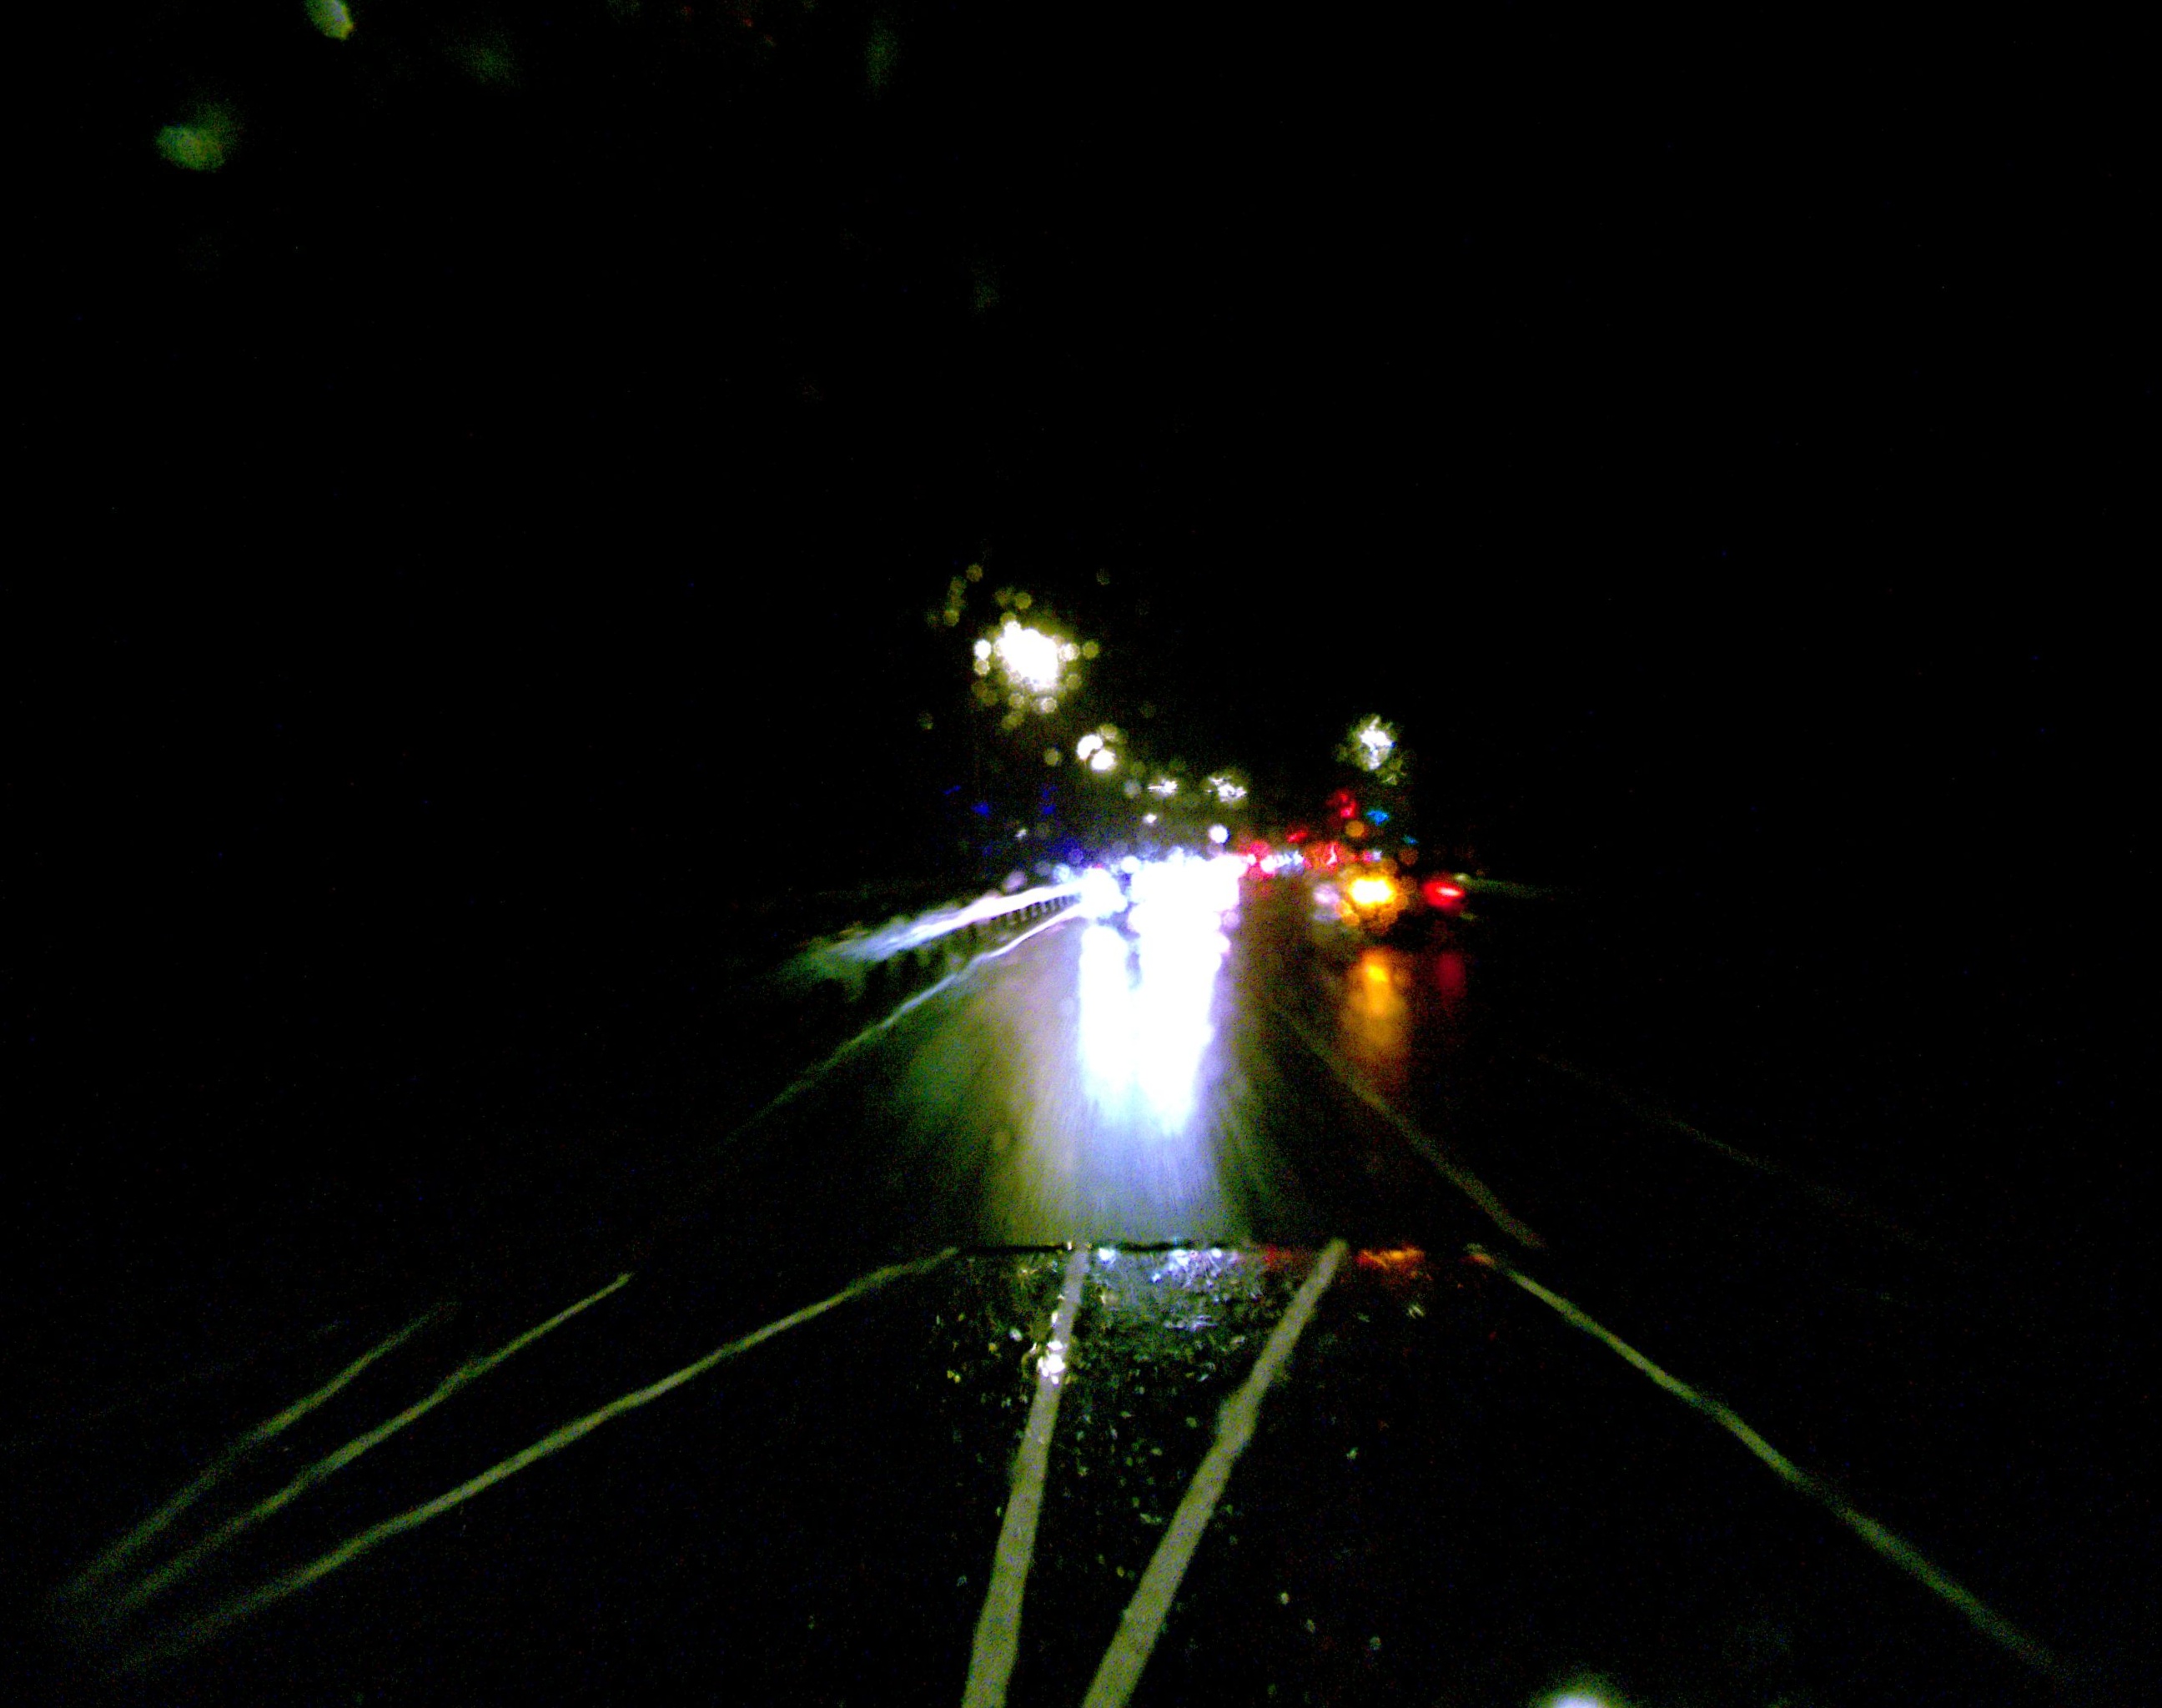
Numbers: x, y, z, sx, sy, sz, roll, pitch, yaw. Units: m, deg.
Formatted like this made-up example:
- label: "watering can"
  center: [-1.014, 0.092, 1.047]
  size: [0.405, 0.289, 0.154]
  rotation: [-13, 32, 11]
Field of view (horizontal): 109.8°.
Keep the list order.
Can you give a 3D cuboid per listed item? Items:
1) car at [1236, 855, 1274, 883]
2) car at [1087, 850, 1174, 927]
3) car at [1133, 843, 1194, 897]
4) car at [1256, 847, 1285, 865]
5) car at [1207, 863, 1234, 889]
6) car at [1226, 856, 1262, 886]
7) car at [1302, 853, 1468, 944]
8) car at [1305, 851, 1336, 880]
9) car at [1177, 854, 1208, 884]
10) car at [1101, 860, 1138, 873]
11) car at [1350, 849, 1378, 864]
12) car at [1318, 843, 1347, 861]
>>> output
- label: "car"
  center: [9.446, 0.773, 41.355]
  size: [1.898, 1.431, 4.066]
  rotation: [-1, 0, 12]
- label: "car"
  center: [1.343, 0.817, 19.002]
  size: [1.926, 1.704, 4.242]
  rotation: [0, -2, 7]
- label: "car"
  center: [3.415, 0.597, 30.721]
  size: [1.997, 2.002, 4.003]
  rotation: [-1, 1, 12]
- label: "car"
  center: [22.350, 0.238, 89.485]
  size: [1.865, 2.001, 4.008]
  rotation: [-2, -1, 35]
- label: "car"
  center: [9.157, 1.487, 49.790]
  size: [1.303, 1.519, 3.052]
  rotation: [-5, -4, 17]
- label: "car"
  center: [13.981, 1.404, 64.976]
  size: [1.996, 2.002, 4.004]
  rotation: [-8, 1, 24]
- label: "car"
  center: [5.743, 0.750, 14.973]
  size: [1.686, 1.383, 4.451]
  rotation: [-3, 1, 3]
- label: "car"
  center: [13.642, 0.637, 43.187]
  size: [1.472, 1.575, 3.196]
  rotation: [-1, -1, 21]
- label: "car"
  center: [6.118, 0.806, 41.486]
  size: [1.521, 1.516, 3.110]
  rotation: [-2, -1, 10]
- label: "car"
  center: [5.073, 1.602, 100.543]
  size: [2.004, 1.630, 4.769]
  rotation: [-1, 0, -45]
- label: "car"
  center: [27.109, 0.233, 72.695]
  size: [1.767, 1.419, 4.227]
  rotation: [0, 1, 31]
- label: "car"
  center: [25.820, -0.158, 78.053]
  size: [2.000, 1.664, 4.627]
  rotation: [-2, -2, 28]
